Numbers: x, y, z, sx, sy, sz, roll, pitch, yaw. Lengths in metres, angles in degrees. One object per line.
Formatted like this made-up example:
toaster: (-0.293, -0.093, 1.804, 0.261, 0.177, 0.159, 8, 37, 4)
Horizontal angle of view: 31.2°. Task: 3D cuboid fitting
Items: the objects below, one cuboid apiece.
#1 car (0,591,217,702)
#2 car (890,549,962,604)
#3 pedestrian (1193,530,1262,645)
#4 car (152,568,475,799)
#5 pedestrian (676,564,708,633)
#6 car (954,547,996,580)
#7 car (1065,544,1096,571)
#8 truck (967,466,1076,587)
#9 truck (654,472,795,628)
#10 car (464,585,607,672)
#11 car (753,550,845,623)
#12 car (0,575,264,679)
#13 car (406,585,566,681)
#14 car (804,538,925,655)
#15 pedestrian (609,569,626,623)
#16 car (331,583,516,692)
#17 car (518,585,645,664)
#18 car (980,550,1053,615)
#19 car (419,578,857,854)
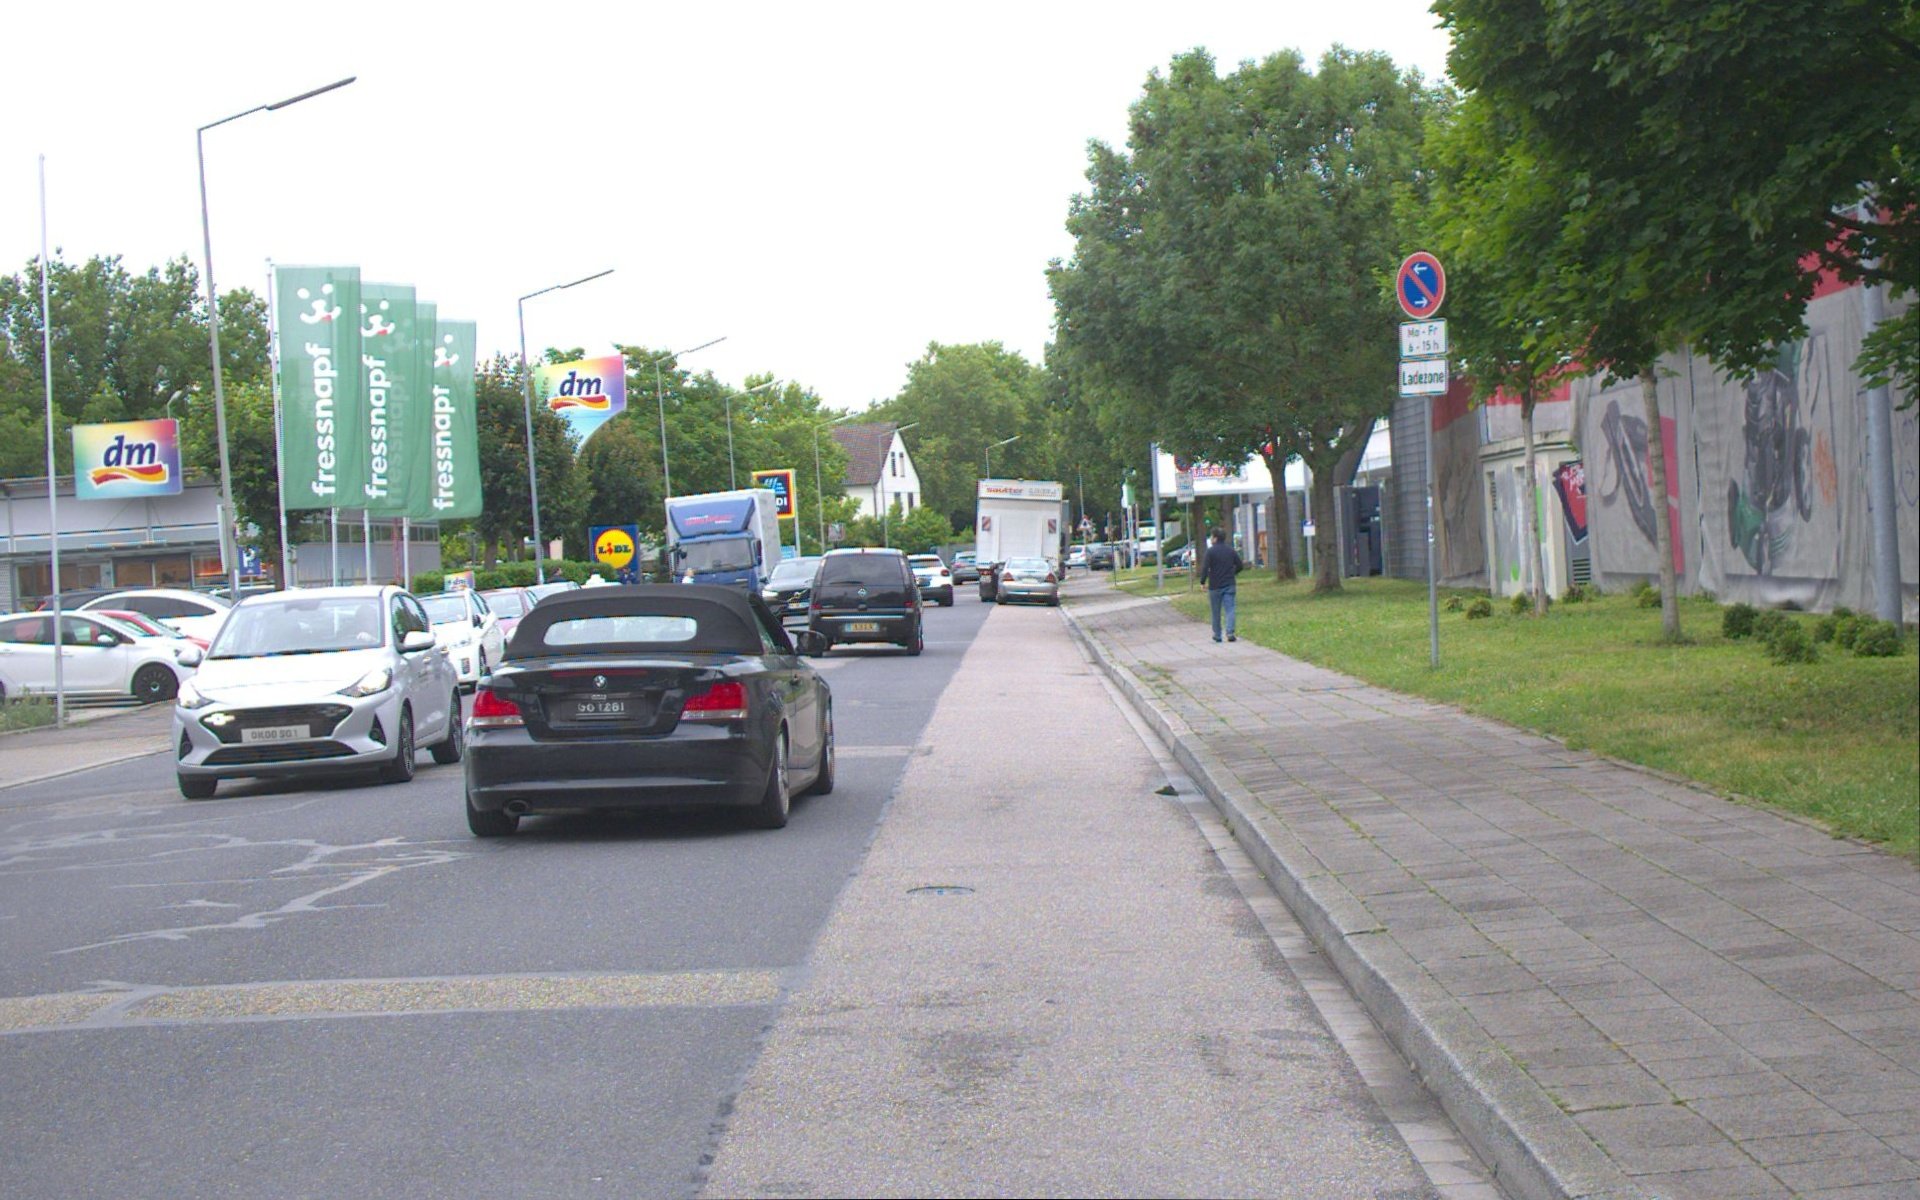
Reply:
car: (-13.482, 0.723, 51.792, 4.202, 1.458, 1.953, -4, 1, -6)
car: (-0.974, -0.698, 99.928, 1.886, 1.526, 4.254, -1, 1, 2)
pedestrian: (3.871, -0.176, 49.813, 0.919, 1.629, 0.852, -2, 0, 3)
car: (-4.857, 0.582, 26.276, 1.599, 1.523, 3.528, -5, 0, 2)
pedestrian: (-6.542, -0.035, 84.031, 0.631, 1.631, 0.668, -3, 1, 0)
car: (0.723, -1.737, 163.419, 1.886, 1.526, 4.254, -1, 1, 2)
car: (7.549, -2.656, 214.774, 1.886, 1.677, 4.254, -1, 1, 2)
truck: (1.873, -2.233, 109.141, 3.135, 3.572, 10.050, -2, 0, 0)
truck: (-6.432, -1.388, 94.946, 2.974, 3.942, 6.404, -4, 1, 2)
car: (-7.549, 0.481, 61.457, 1.898, 1.362, 4.000, -3, 1, 1)
car: (-3.897, -0.336, 83.749, 1.993, 1.678, 4.000, -2, 0, 0)
car: (-13.717, 0.434, 56.632, 4.135, 1.458, 1.899, -3, 1, -4)
car: (-7.657, 0.507, 55.833, 1.898, 1.362, 4.000, -3, 1, 1)
car: (-1.467, -0.072, 52.332, 1.681, 1.626, 3.759, -3, 1, -2)
pedestrian: (-9.766, -0.121, 98.014, 0.401, 1.526, 0.485, -3, 1, -5)
car: (-7.686, 0.507, 49.604, 1.898, 1.362, 4.000, -3, 1, 1)
car: (-7.382, 0.452, 67.356, 1.898, 1.362, 4.000, -3, 1, 1)
car: (1.620, -0.503, 99.952, 1.993, 1.800, 4.000, -2, 0, 0)
car: (-1.746, 0.596, 19.992, 1.746, 1.354, 4.137, -3, 0, 5)
